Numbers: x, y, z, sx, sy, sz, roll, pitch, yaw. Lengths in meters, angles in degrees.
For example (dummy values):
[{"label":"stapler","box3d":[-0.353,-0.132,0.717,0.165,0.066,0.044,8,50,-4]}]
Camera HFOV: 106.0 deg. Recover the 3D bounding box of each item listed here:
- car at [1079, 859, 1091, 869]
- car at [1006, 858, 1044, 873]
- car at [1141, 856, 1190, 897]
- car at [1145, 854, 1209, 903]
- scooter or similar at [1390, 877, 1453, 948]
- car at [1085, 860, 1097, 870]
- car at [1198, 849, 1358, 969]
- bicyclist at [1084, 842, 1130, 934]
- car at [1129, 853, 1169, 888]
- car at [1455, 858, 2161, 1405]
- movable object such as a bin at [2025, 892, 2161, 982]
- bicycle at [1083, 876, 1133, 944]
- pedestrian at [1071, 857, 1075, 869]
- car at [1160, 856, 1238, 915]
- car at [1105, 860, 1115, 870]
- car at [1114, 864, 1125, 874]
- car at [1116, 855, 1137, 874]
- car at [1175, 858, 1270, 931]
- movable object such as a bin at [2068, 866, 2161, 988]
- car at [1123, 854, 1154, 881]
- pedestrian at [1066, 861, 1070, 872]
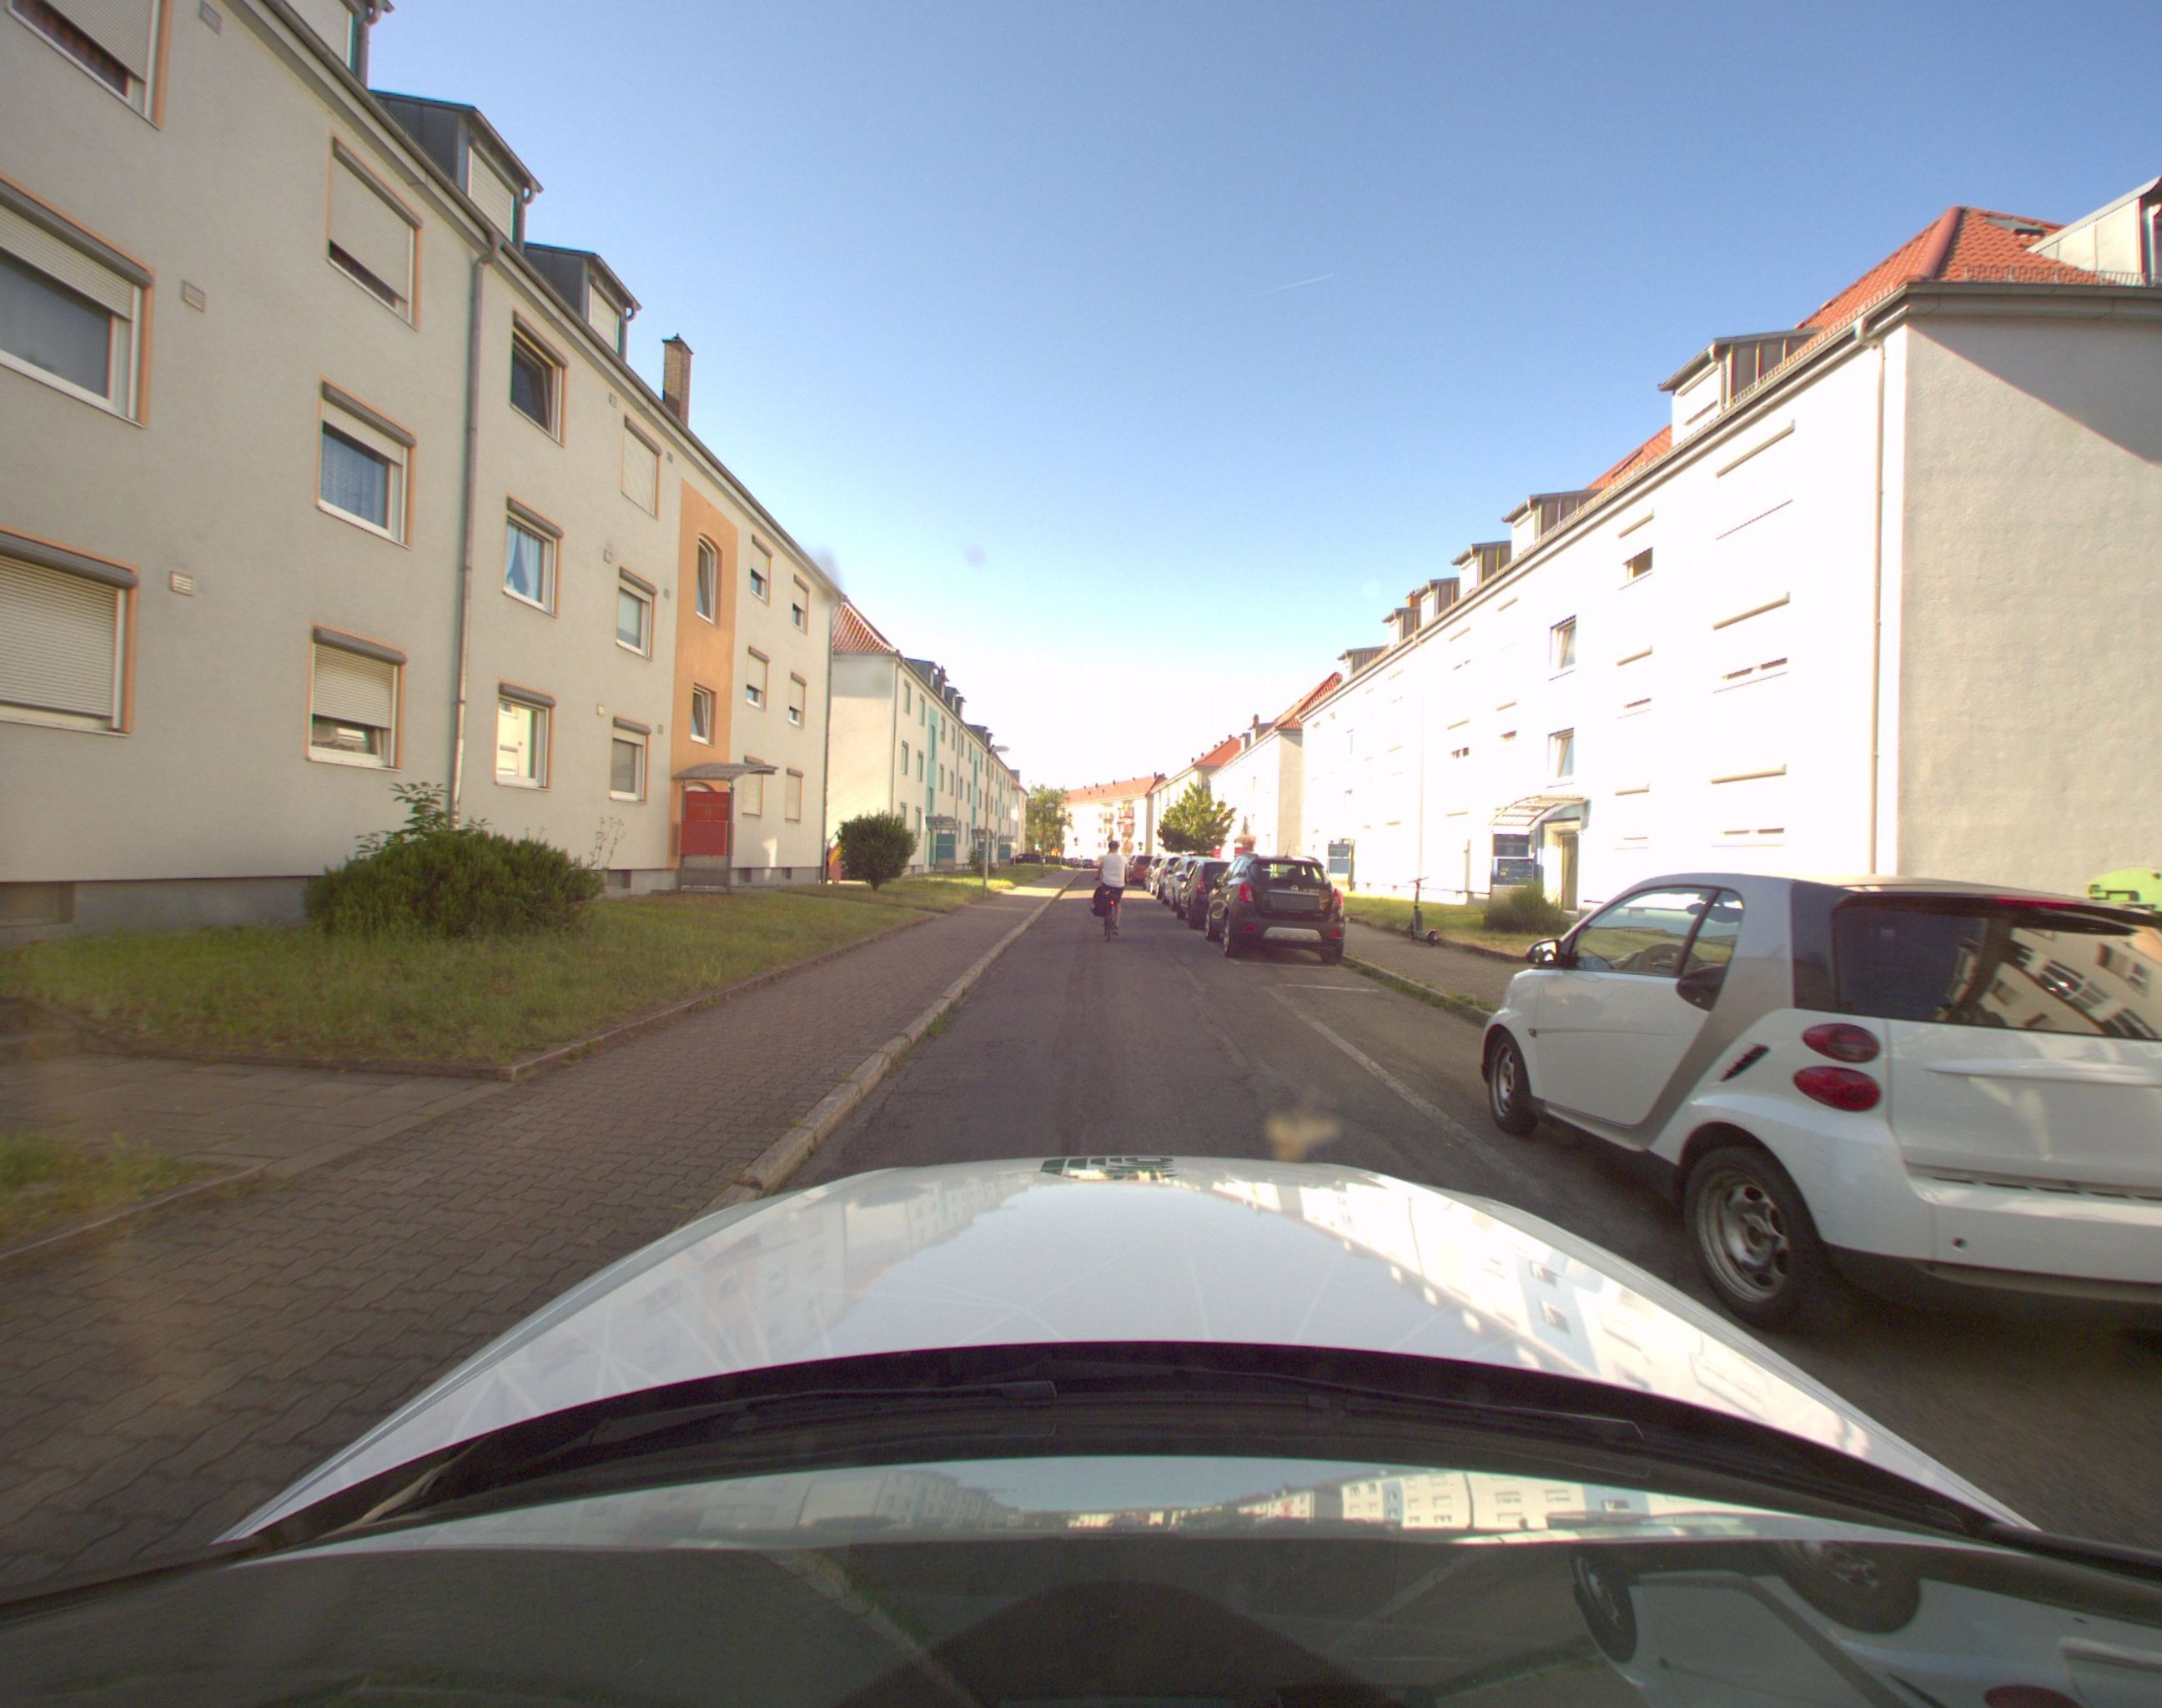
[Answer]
[{"label":"car","box3d":[0.536,1.448,115.195,1.466,1.335,3.137,-3,0,-3]},{"label":"car","box3d":[-6.338,1.279,92.135,4.222,1.638,1.581,1,0,-3]},{"label":"car","box3d":[3.676,0.925,35.975,1.706,1.595,4.398,4,0,1]},{"label":"car","box3d":[3.551,0.859,30.765,1.745,1.617,4.450,3,0,-1]},{"label":"scooter or similar","box3d":[6.101,1.026,14.669,0.482,1.149,1.589,-2,0,2]},{"label":"car","box3d":[1.362,1.452,110.835,1.466,1.335,3.137,-2,0,-3]},{"label":"car","box3d":[3.161,0.799,14.013,1.776,1.648,4.471,2,0,2]},{"label":"bicyclist","box3d":[0.464,0.608,15.073,0.806,1.643,0.898,0,-1,-1]},{"label":"car","box3d":[3.593,0.859,43.641,1.855,1.668,4.128,3,0,1]},{"label":"car","box3d":[3.100,0.824,3.834,1.473,1.529,2.945,3,0,5]},{"label":"movable object such as a bin","box3d":[12.132,0.977,9.790,0.640,1.035,0.757,-1,-3,1]},{"label":"bicycle","box3d":[0.470,0.991,15.134,0.806,1.128,2.101,0,0,-1]},{"label":"pedestrian","box3d":[-1.067,1.120,107.104,0.433,1.574,0.543,0,0,1]},{"label":"car","box3d":[3.480,0.869,24.716,1.685,1.575,4.434,2,0,0]},{"label":"car","box3d":[4.492,1.734,127.273,1.377,1.497,3.076,2,0,-1]},{"label":"car","box3d":[5.662,2.156,120.327,1.465,1.335,3.139,2,0,-1]},{"label":"car","box3d":[4.344,0.954,77.736,1.669,1.739,3.941,2,0,-1]},{"label":"car","box3d":[3.194,0.855,19.110,1.635,1.498,4.158,1,0,2]},{"label":"movable object such as a bin","box3d":[13.123,0.845,9.701,1.323,1.407,1.106,-1,-3,1]},{"label":"car","box3d":[3.799,0.882,54.227,1.695,1.671,4.378,3,0,-1]},{"label":"pedestrian","box3d":[-1.712,1.601,107.020,0.433,1.427,0.543,0,0,0]}]
